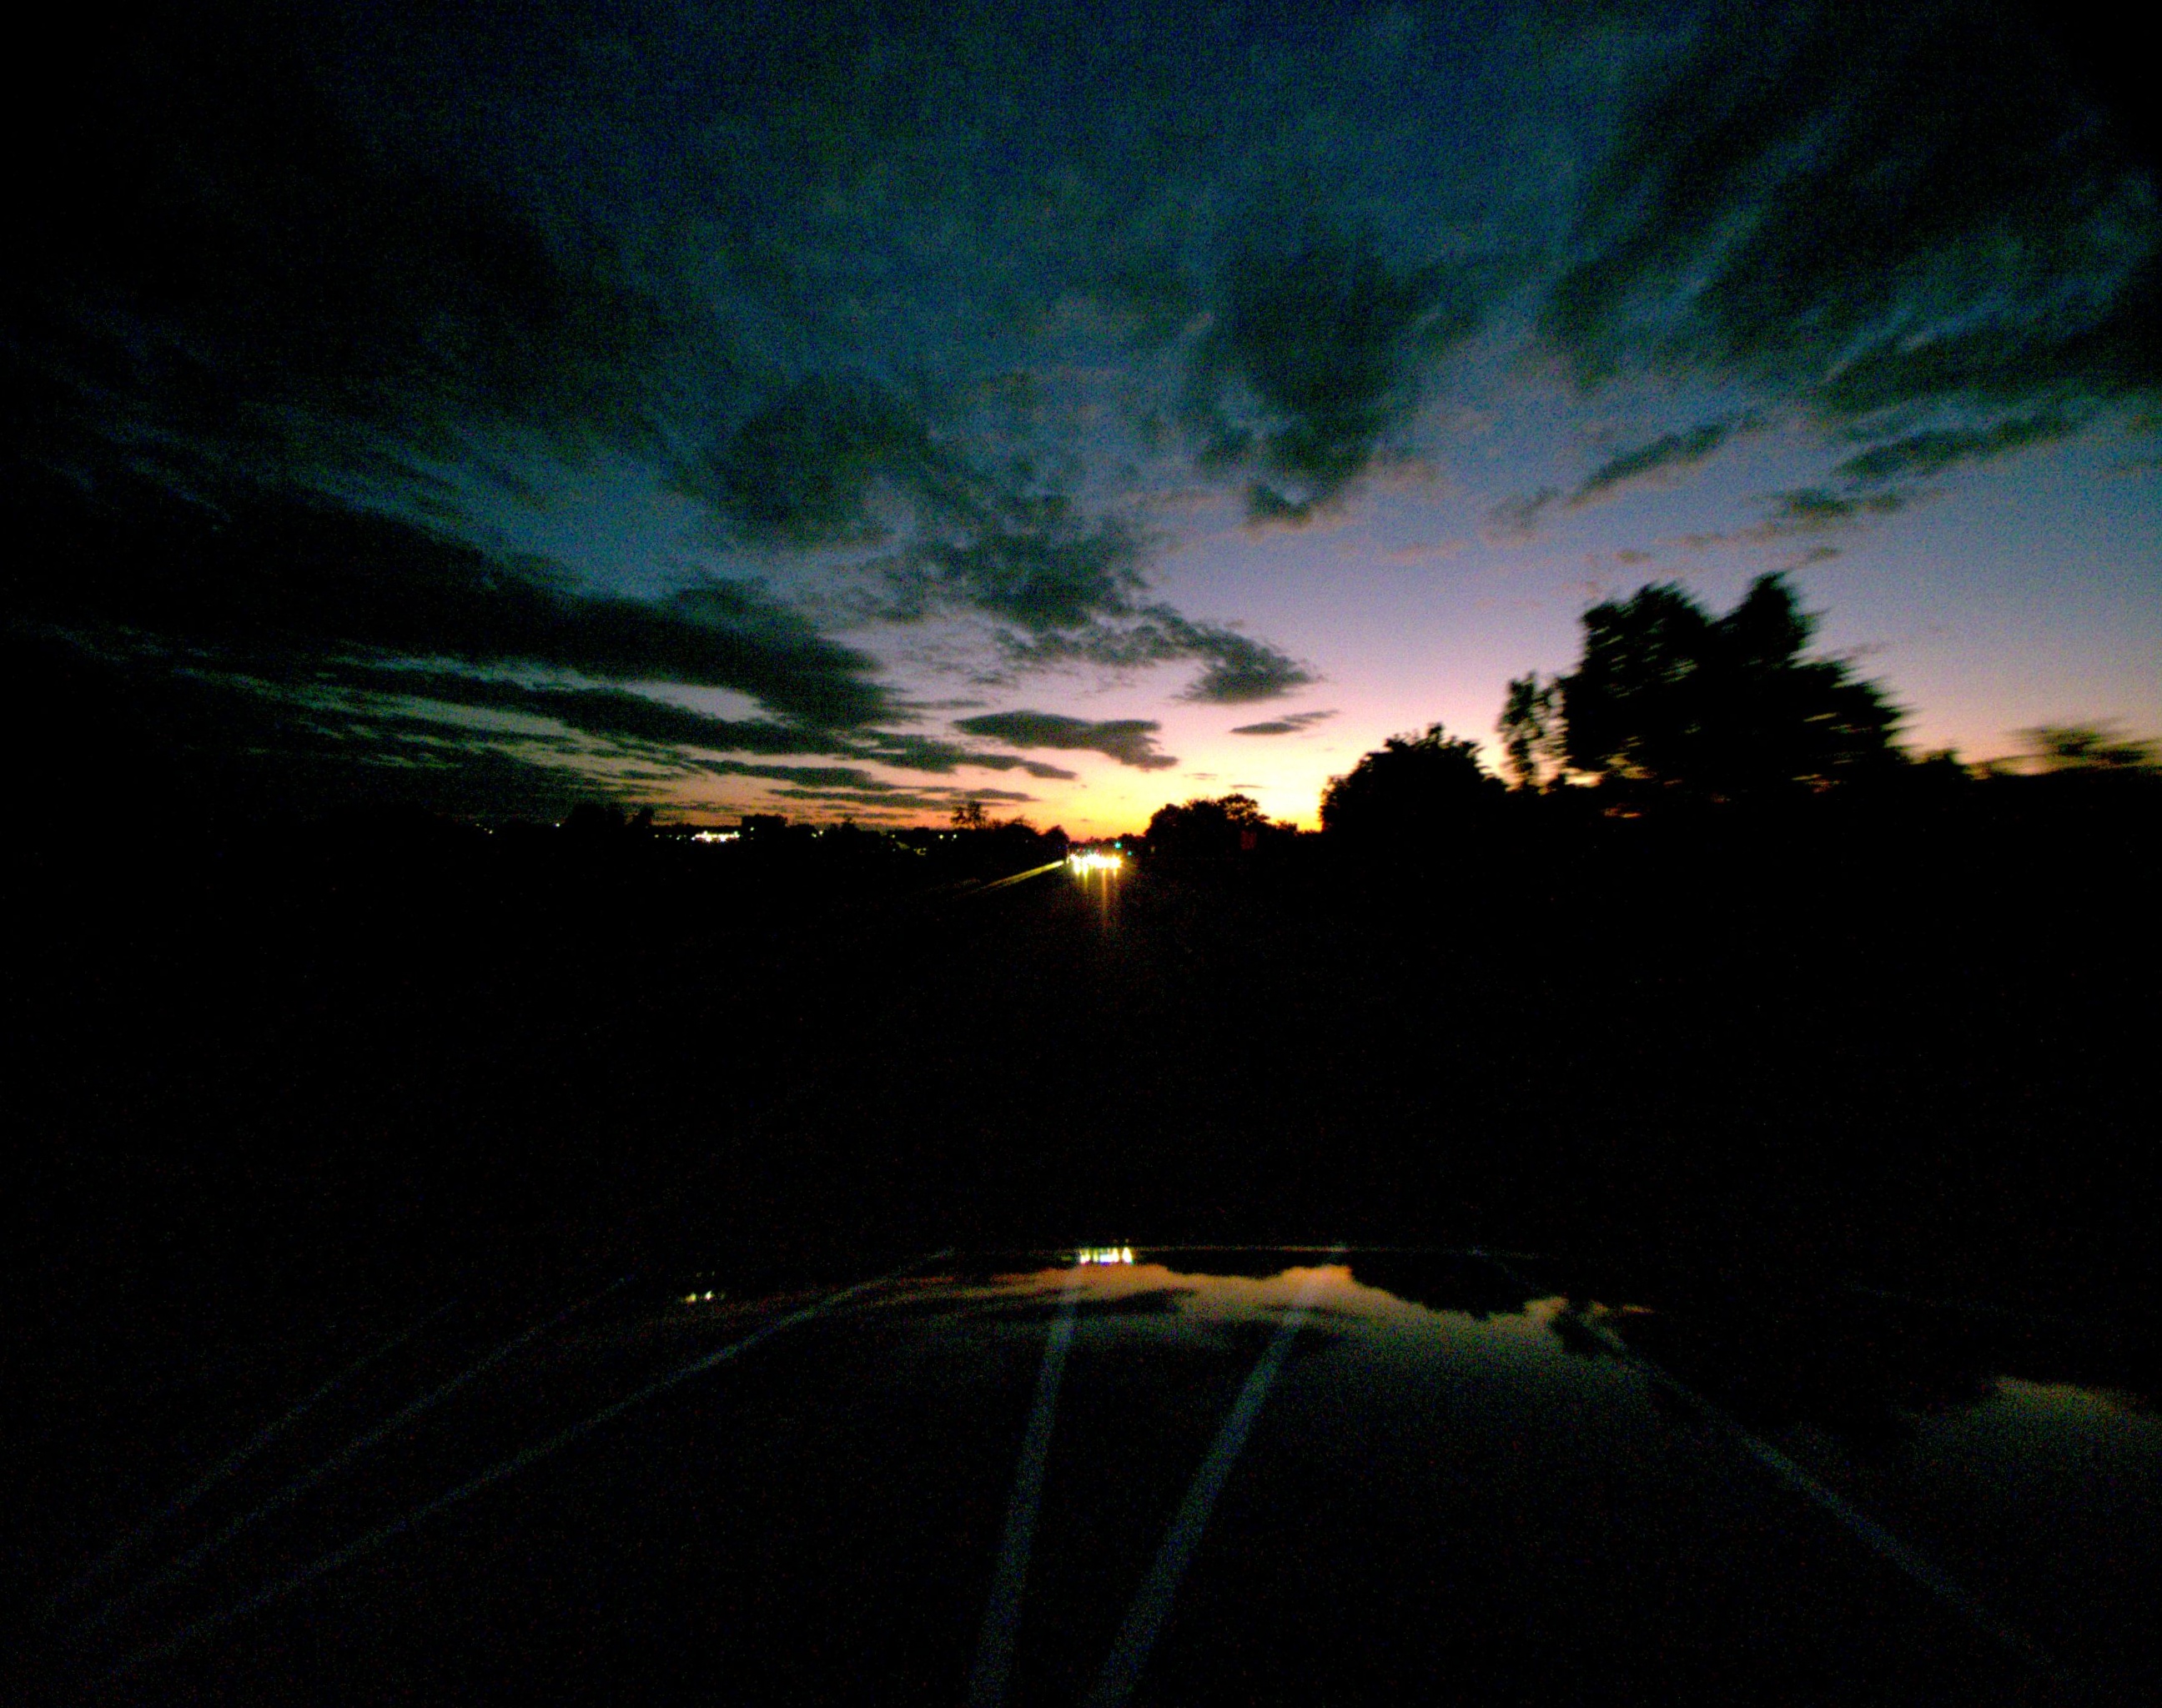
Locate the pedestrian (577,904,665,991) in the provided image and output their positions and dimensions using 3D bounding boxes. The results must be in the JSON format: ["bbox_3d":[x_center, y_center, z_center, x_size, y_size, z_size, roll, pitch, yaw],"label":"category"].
[{"bbox_3d":[-9.550,1.908,15.822,1.064,1.633,1.118,-2,1,1],"label":"pedestrian"}]

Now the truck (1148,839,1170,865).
[{"bbox_3d":[16.506,-0.476,161.064,3.211,5.226,12.606,-1,1,0],"label":"truck"}]

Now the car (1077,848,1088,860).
[{"bbox_3d":[0.252,0.053,130.866,1.741,2.002,4.000,-2,0,0],"label":"car"}]

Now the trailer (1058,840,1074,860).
[{"bbox_3d":[-2.961,-0.862,155.345,2.474,3.789,12.671,-2,1,2],"label":"trailer"}]

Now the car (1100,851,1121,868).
[{"bbox_3d":[3.041,0.527,79.966,1.998,1.635,4.296,-2,1,0],"label":"car"}]

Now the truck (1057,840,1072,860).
[{"bbox_3d":[-3.240,-0.773,147.740,2.491,3.778,5.498,-2,1,2],"label":"truck"}]

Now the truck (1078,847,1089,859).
[{"bbox_3d":[0.847,-0.470,249.594,3.015,3.674,9.058,-2,1,2],"label":"truck"}]

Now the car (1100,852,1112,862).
[{"bbox_3d":[4.413,0.514,134.656,1.998,1.778,4.000,-2,1,1],"label":"car"}]

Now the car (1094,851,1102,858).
[{"bbox_3d":[5.012,0.193,223.291,1.998,2.002,4.000,-2,1,2],"label":"car"}]
